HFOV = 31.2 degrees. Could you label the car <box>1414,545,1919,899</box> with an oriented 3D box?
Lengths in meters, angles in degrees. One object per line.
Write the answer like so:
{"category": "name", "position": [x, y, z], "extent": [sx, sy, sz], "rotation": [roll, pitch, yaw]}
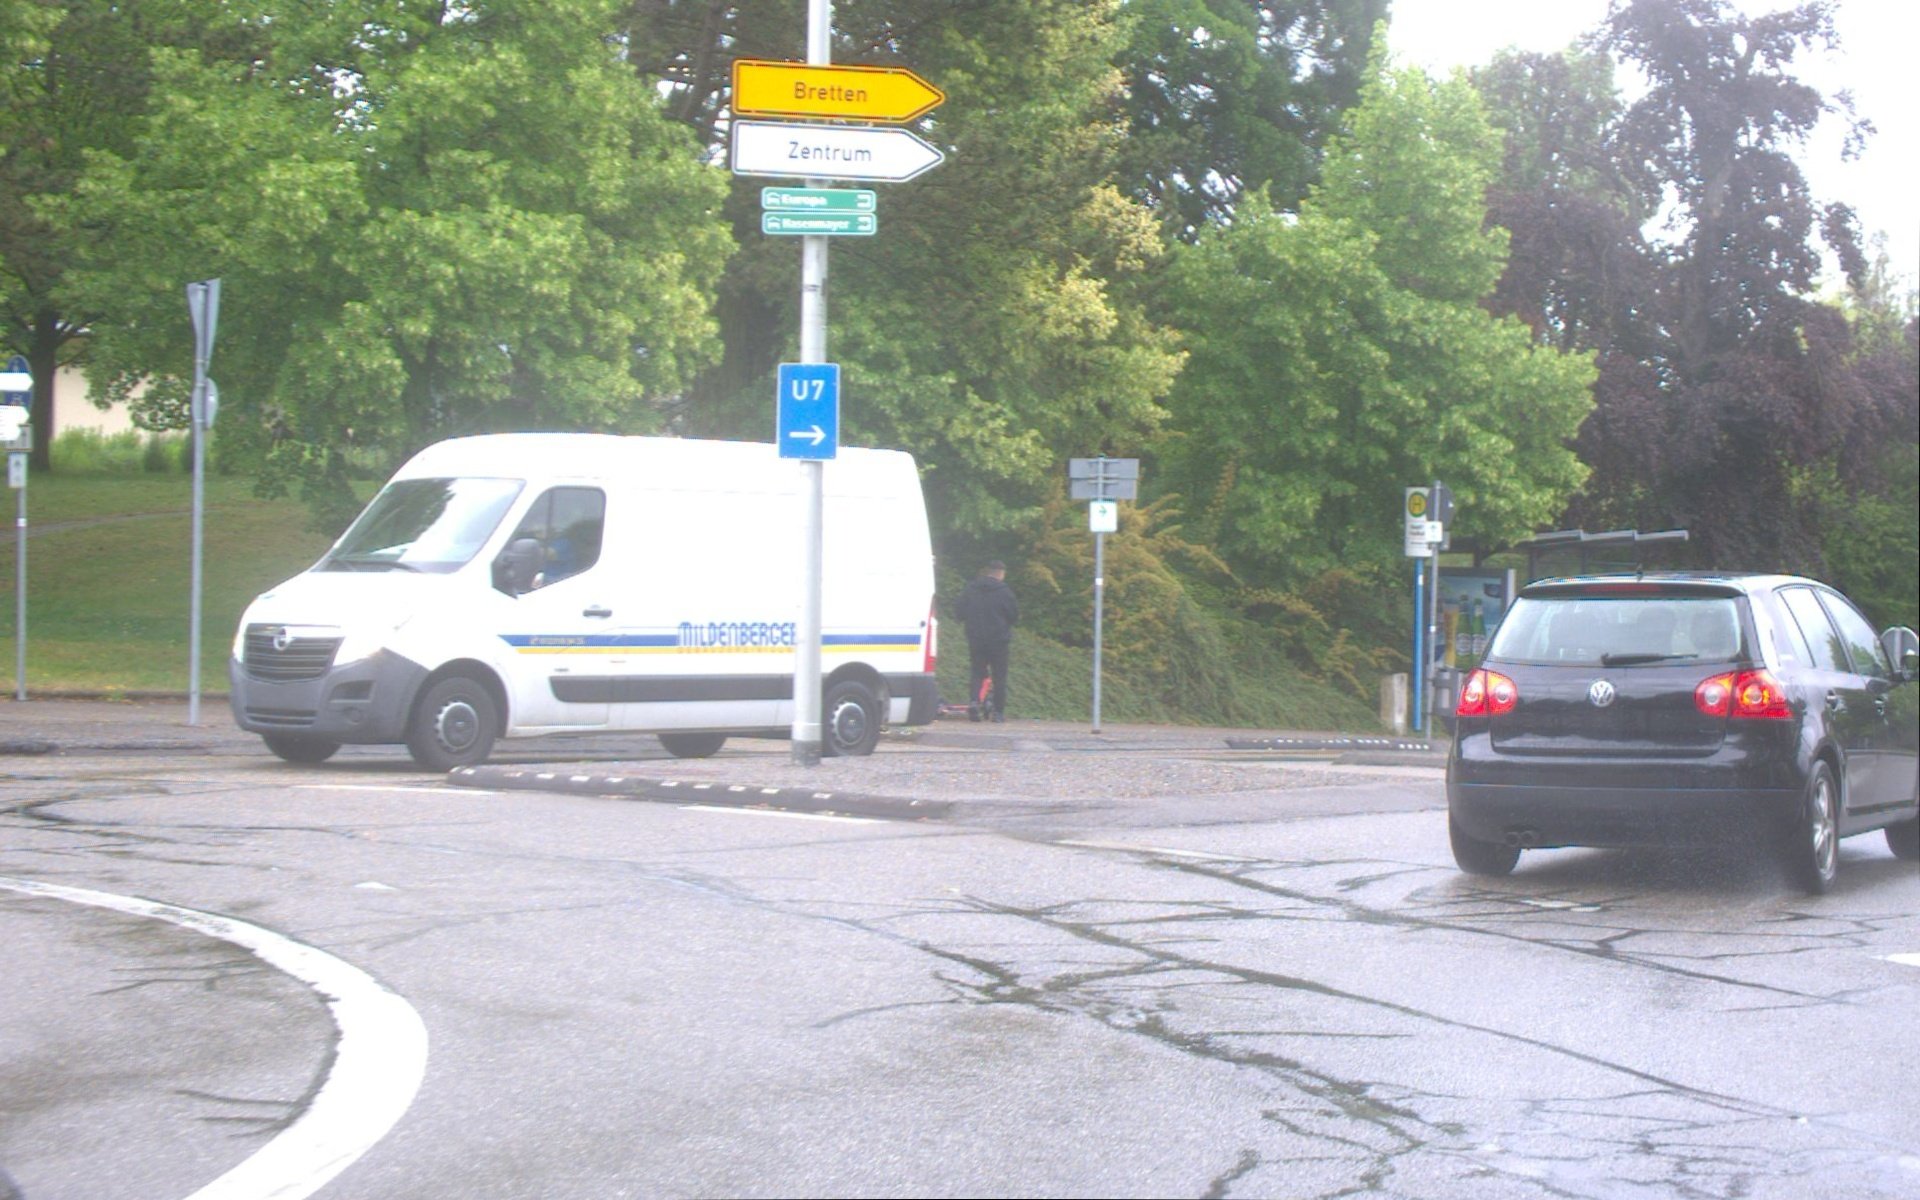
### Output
{"category": "car", "position": [3.740, 0.518, 17.069], "extent": [1.767, 1.533, 3.994], "rotation": [0, 0, 26]}

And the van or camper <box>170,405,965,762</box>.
{"category": "van or camper", "position": [-2.774, -0.078, 25.549], "extent": [5.653, 2.370, 2.200], "rotation": [2, 0, -45]}

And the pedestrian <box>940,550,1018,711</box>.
{"category": "pedestrian", "position": [0.215, 0.328, 37.636], "extent": [0.738, 1.719, 0.816], "rotation": [2, 0, 4]}
